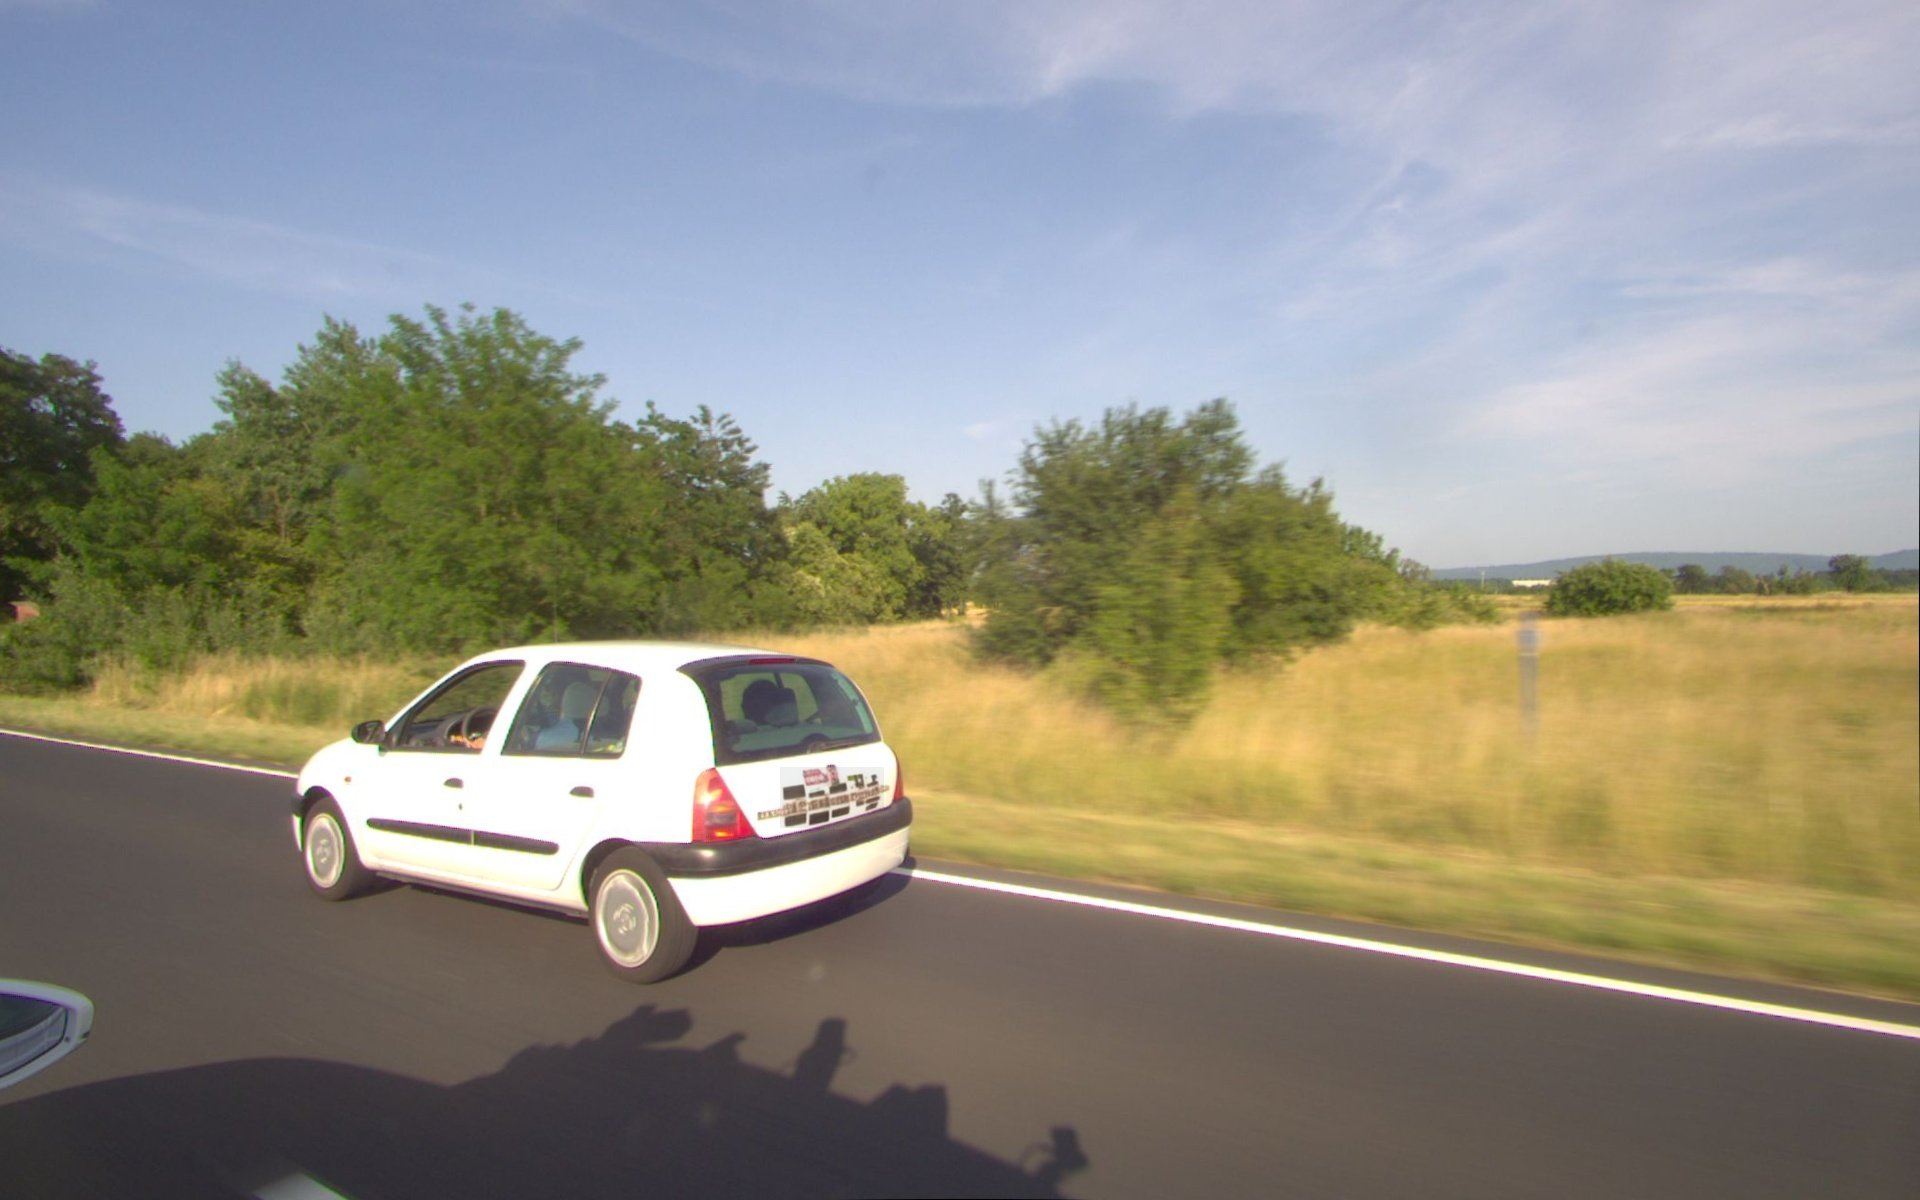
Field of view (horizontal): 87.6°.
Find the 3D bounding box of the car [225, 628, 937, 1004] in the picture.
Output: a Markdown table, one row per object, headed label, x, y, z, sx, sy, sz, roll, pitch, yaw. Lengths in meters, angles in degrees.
| label | x | y | z | sx | sy | sz | roll | pitch | yaw |
| --- | --- | --- | --- | --- | --- | --- | --- | --- | --- |
| car | -2.188 | 0.870 | 5.475 | 3.894 | 1.405 | 1.615 | -1 | -2 | 32 |
